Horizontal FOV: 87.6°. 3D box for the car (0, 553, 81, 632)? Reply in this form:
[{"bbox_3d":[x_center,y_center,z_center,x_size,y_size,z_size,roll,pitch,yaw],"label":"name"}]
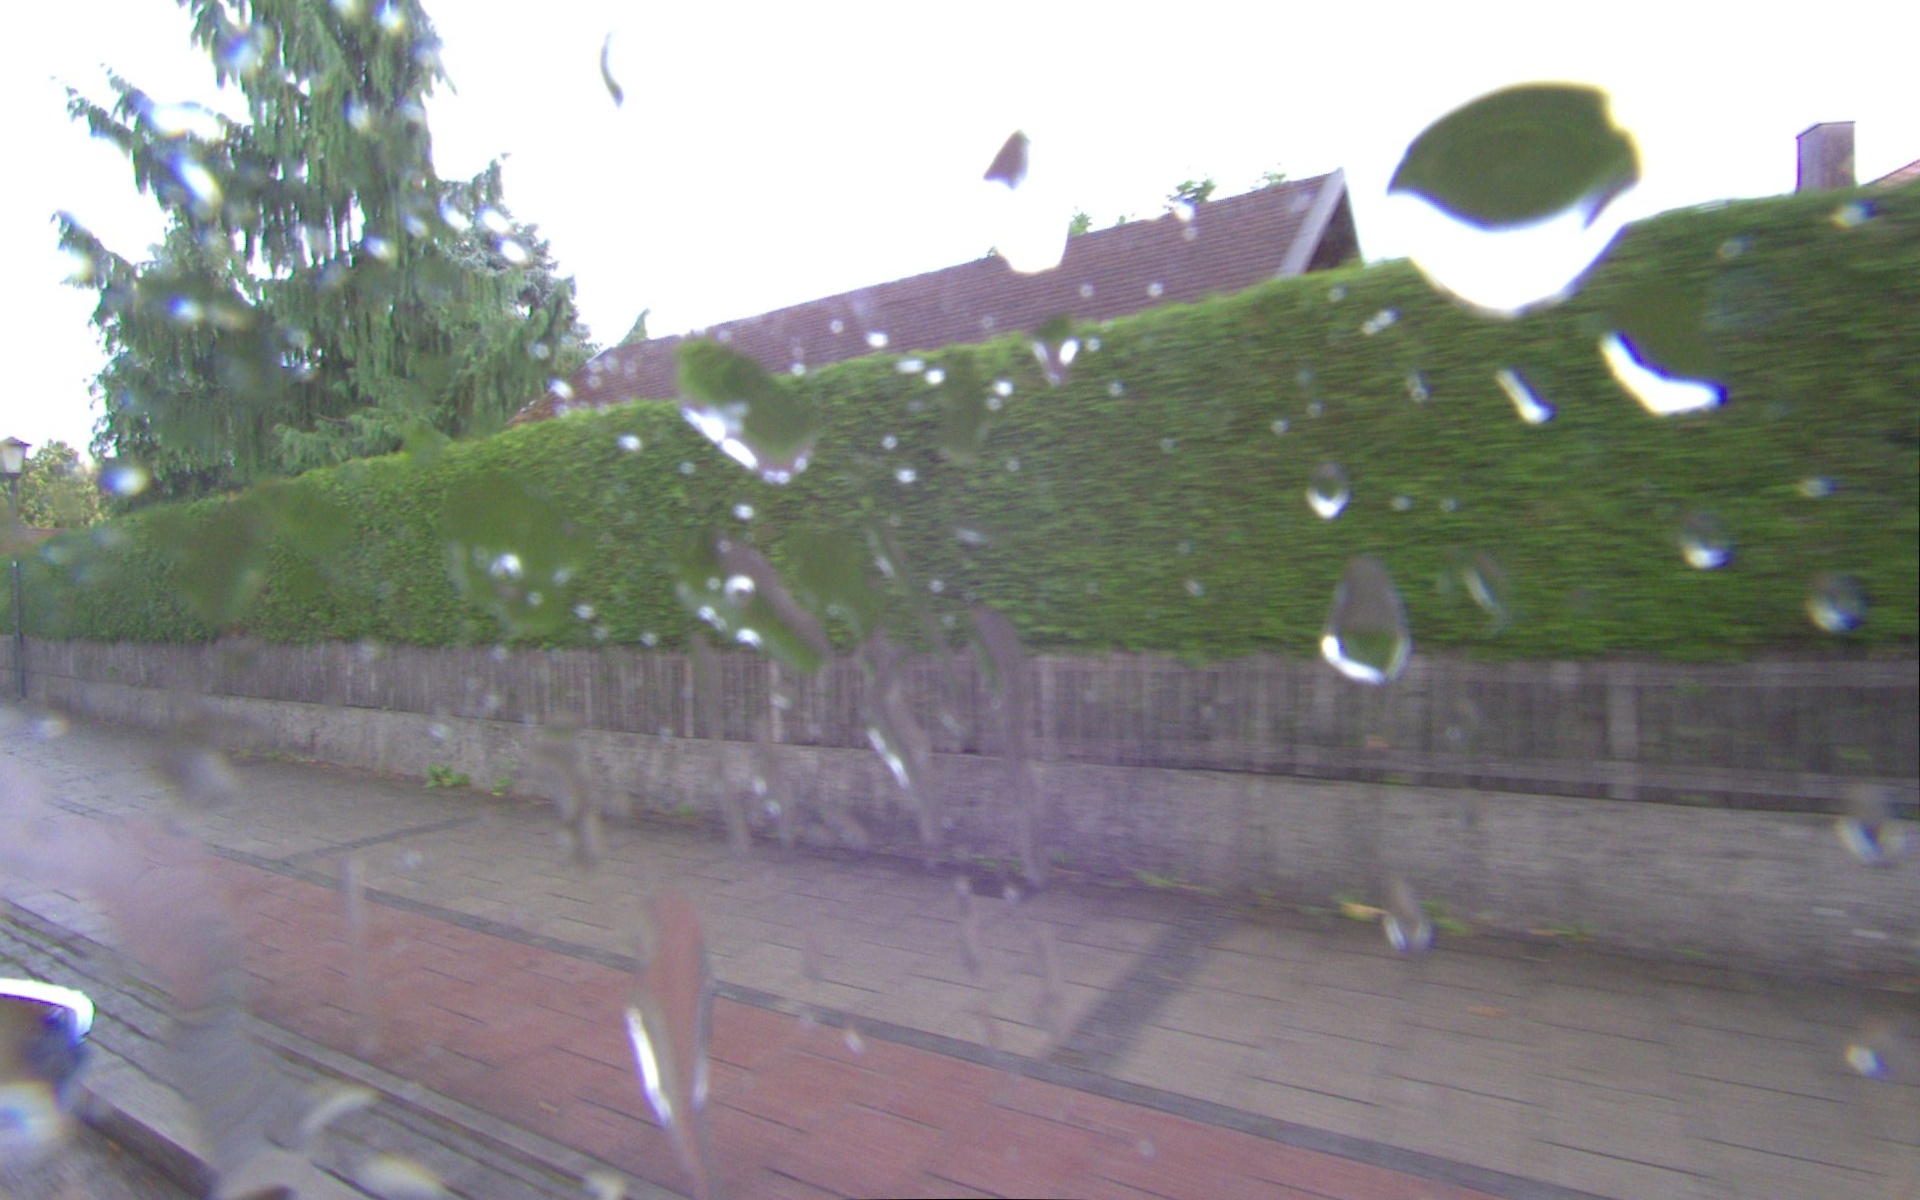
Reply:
[{"bbox_3d":[-29.209,-0.151,30.427,4.873,2.201,1.994,-1,-2,25],"label":"car"}]

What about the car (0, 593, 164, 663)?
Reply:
[{"bbox_3d":[-24.765,0.728,27.647,1.671,1.776,4.081,2,2,35],"label":"car"}]
